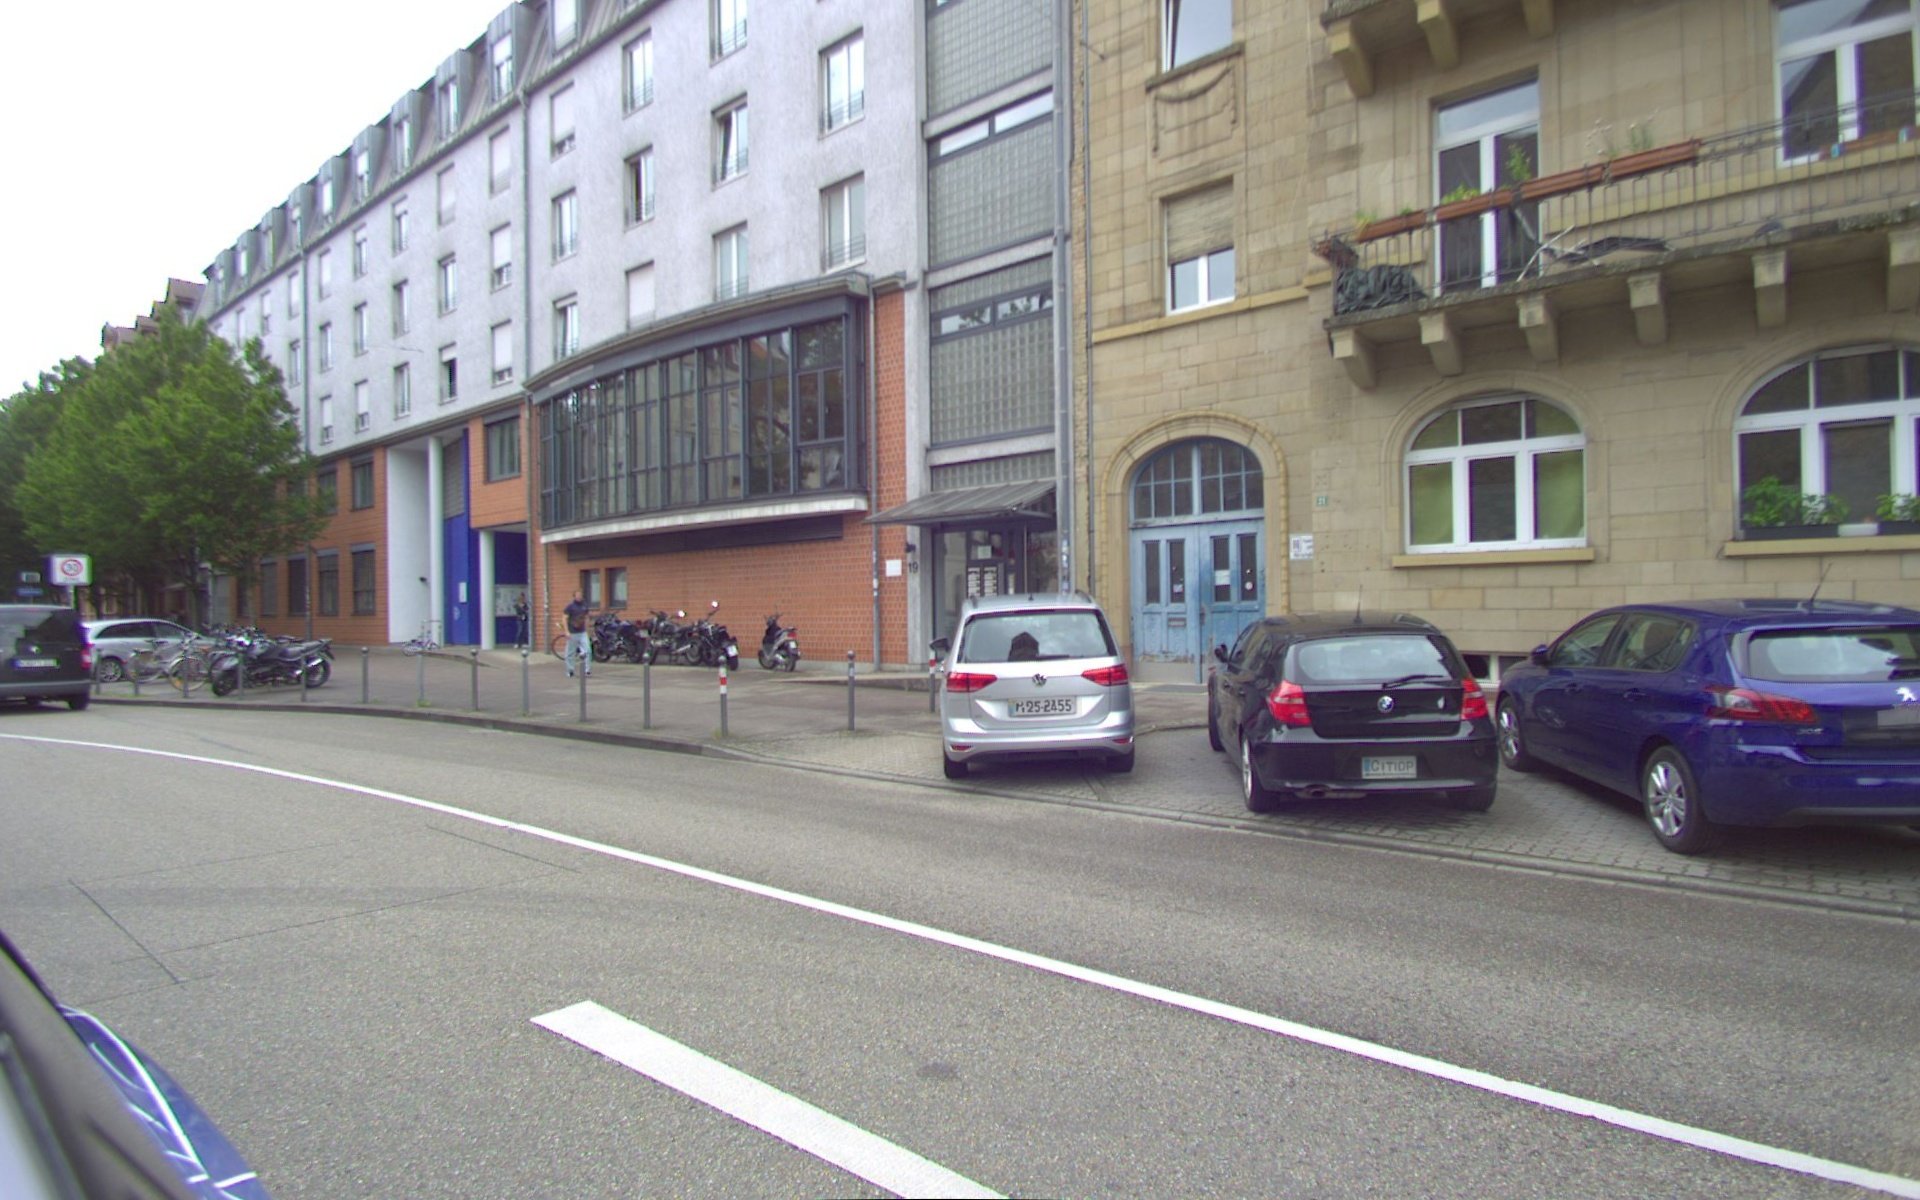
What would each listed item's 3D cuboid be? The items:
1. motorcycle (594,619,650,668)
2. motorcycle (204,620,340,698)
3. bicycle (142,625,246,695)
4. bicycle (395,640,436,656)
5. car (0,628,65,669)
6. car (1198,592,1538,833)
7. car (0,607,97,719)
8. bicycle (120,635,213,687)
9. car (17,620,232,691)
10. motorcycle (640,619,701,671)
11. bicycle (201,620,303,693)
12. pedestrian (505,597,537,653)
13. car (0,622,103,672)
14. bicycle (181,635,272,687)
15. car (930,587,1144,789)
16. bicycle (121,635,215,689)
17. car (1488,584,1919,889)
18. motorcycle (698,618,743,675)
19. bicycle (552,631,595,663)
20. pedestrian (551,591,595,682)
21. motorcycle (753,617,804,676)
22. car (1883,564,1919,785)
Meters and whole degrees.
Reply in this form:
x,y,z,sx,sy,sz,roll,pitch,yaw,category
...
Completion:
x,y,z,sx,sy,sz,roll,pitch,yaw,category
-7.995,1.011,23.877,1.762,1.106,0.440,-2,-1,42,motorcycle
-13.467,1.128,19.863,0.599,1.363,2.096,-2,1,41,motorcycle
-15.472,1.185,20.477,0.416,1.299,1.610,-2,1,39,bicycle
-16.670,1.468,30.976,0.527,0.440,0.997,1,0,42,bicycle
-37.726,1.902,39.414,1.723,1.508,3.977,-1,-1,18,car
3.082,0.730,8.519,1.713,1.449,3.990,-2,1,9,car
-17.074,1.071,17.999,4.120,1.817,1.678,-1,-2,36,car
-18.305,1.389,23.376,0.416,1.082,1.610,-2,1,39,bicycle
-21.299,1.353,25.998,1.758,1.641,3.977,-1,-1,18,car
-6.470,0.992,22.573,1.762,1.106,0.440,-2,-1,42,motorcycle
-14.371,1.131,20.583,0.416,1.363,1.610,-2,1,39,bicycle
-13.419,0.753,30.931,0.622,1.662,0.677,-1,0,42,pedestrian
-32.656,1.613,35.148,1.983,1.641,3.977,-1,-1,18,car
-16.727,1.373,23.112,0.416,1.082,1.610,-2,1,39,bicycle
0.675,0.708,10.364,1.710,1.565,3.999,-2,1,1,car
-17.992,1.389,23.016,0.416,1.082,1.610,-2,1,39,bicycle
5.241,0.678,6.923,1.804,1.456,3.737,-2,1,10,car
-4.954,0.940,20.839,0.438,1.106,1.768,0,-1,-29,motorcycle
-9.821,1.192,25.711,1.581,0.793,0.332,-2,-1,42,bicycle
-7.958,0.736,20.824,0.641,1.837,0.613,-2,-1,41,pedestrian
-3.600,0.903,19.942,0.438,1.106,1.768,0,-1,-29,motorcycle
7.566,0.540,5.399,1.681,1.565,3.997,-2,1,3,car
